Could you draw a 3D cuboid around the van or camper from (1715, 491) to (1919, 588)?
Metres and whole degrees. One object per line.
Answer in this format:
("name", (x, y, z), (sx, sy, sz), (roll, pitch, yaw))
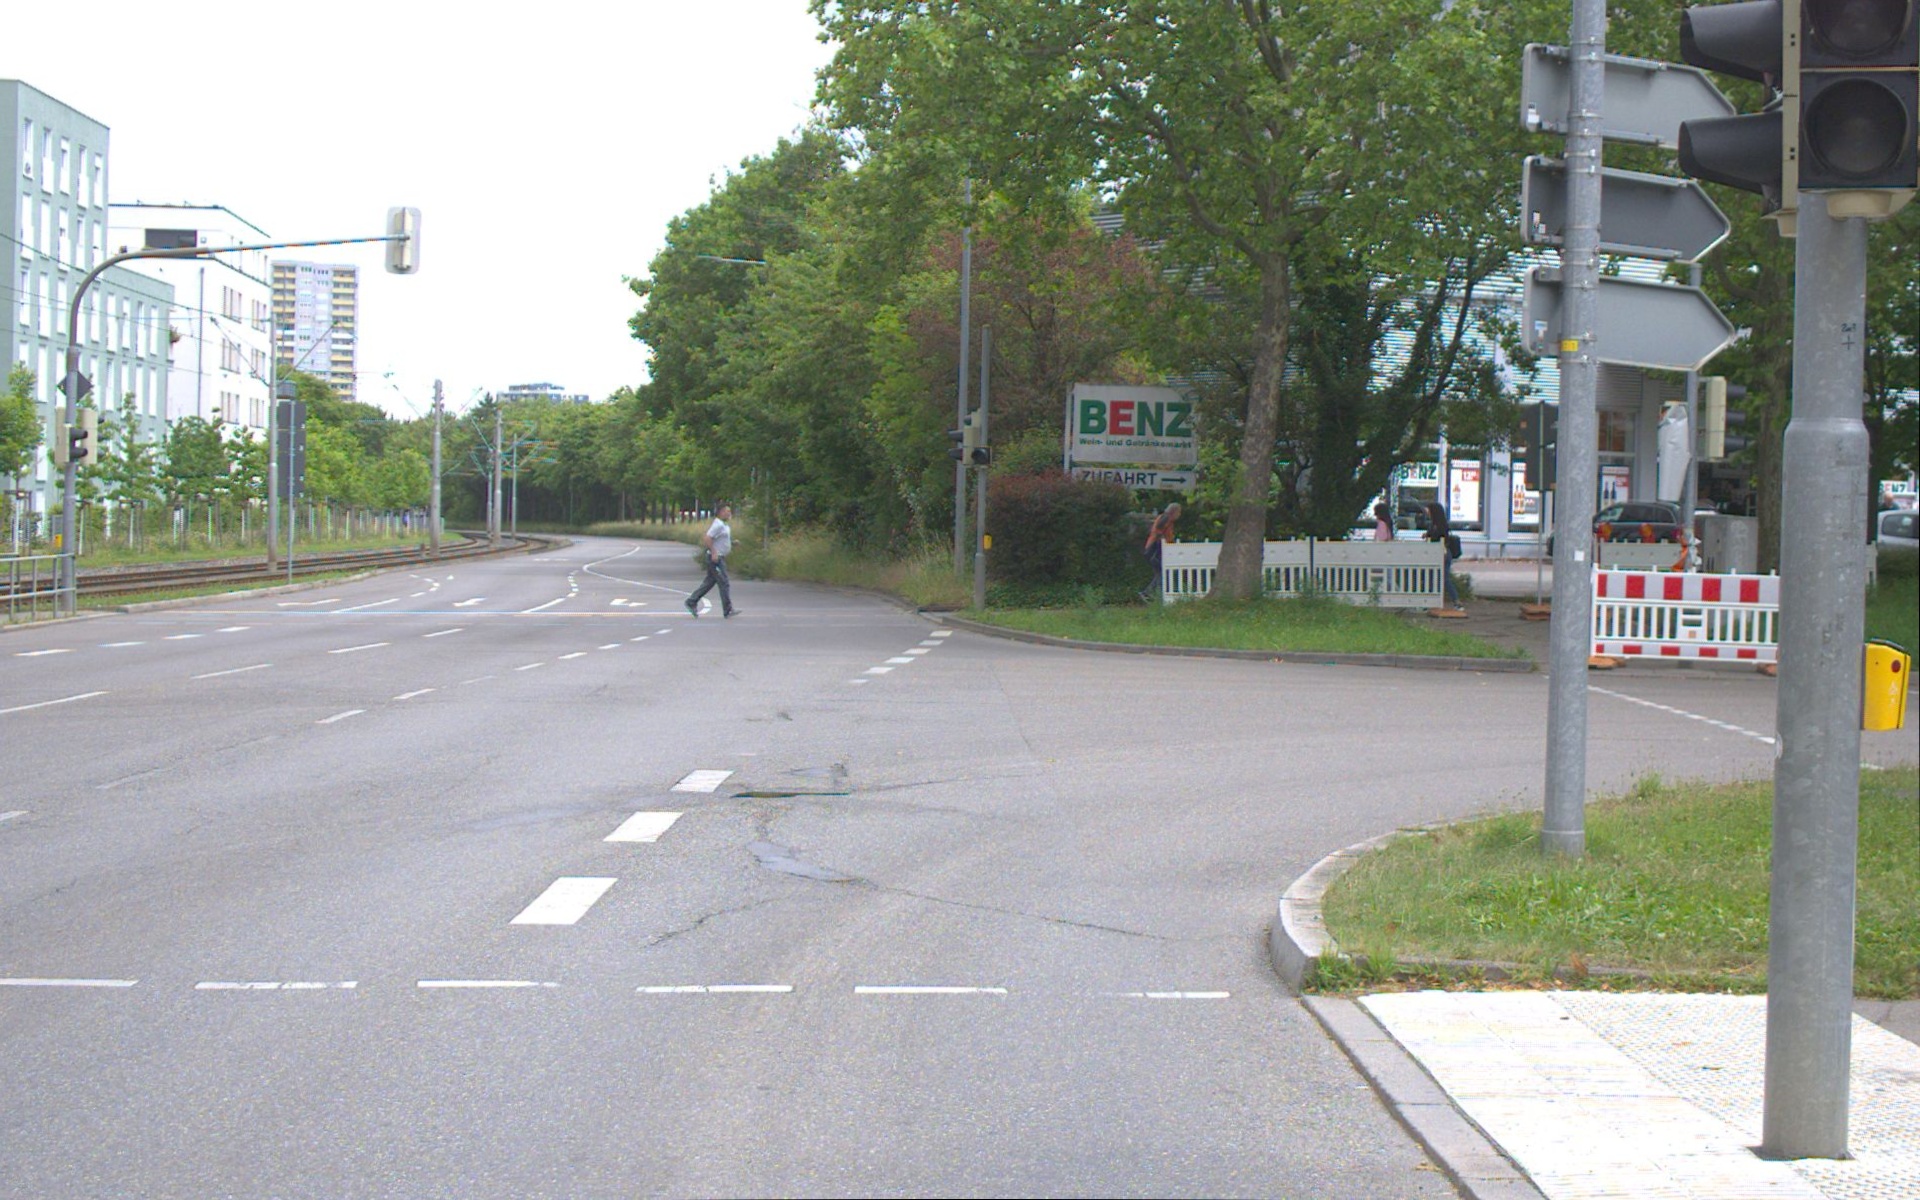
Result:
("van or camper", (15.663, -1.114, 61.994), (1.840, 1.678, 4.001), (-1, 2, -28))

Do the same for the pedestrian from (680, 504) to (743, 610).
("pedestrian", (-3.766, -0.650, 52.165), (0.848, 1.581, 0.796), (1, 0, 2))

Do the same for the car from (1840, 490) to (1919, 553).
("car", (21.820, -1.784, 78.217), (1.480, 1.399, 3.409), (0, 1, -31))

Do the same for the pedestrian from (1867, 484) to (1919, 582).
("pedestrian", (19.169, -1.371, 70.571), (0.804, 1.995, 0.853), (1, 0, -5))

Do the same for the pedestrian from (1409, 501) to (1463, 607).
("pedestrian", (6.750, -0.656, 48.740), (0.697, 1.484, 0.720), (1, 0, 11))

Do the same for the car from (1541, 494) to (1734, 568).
("car", (14.240, -1.445, 72.509), (1.728, 1.495, 4.269), (1, 1, -27))

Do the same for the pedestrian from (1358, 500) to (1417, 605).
("pedestrian", (6.118, -0.678, 49.188), (0.698, 1.484, 0.687), (1, 0, 18))

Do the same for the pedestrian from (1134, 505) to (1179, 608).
("pedestrian", (2.973, -0.655, 51.901), (0.653, 1.533, 0.772), (1, 0, 3))
